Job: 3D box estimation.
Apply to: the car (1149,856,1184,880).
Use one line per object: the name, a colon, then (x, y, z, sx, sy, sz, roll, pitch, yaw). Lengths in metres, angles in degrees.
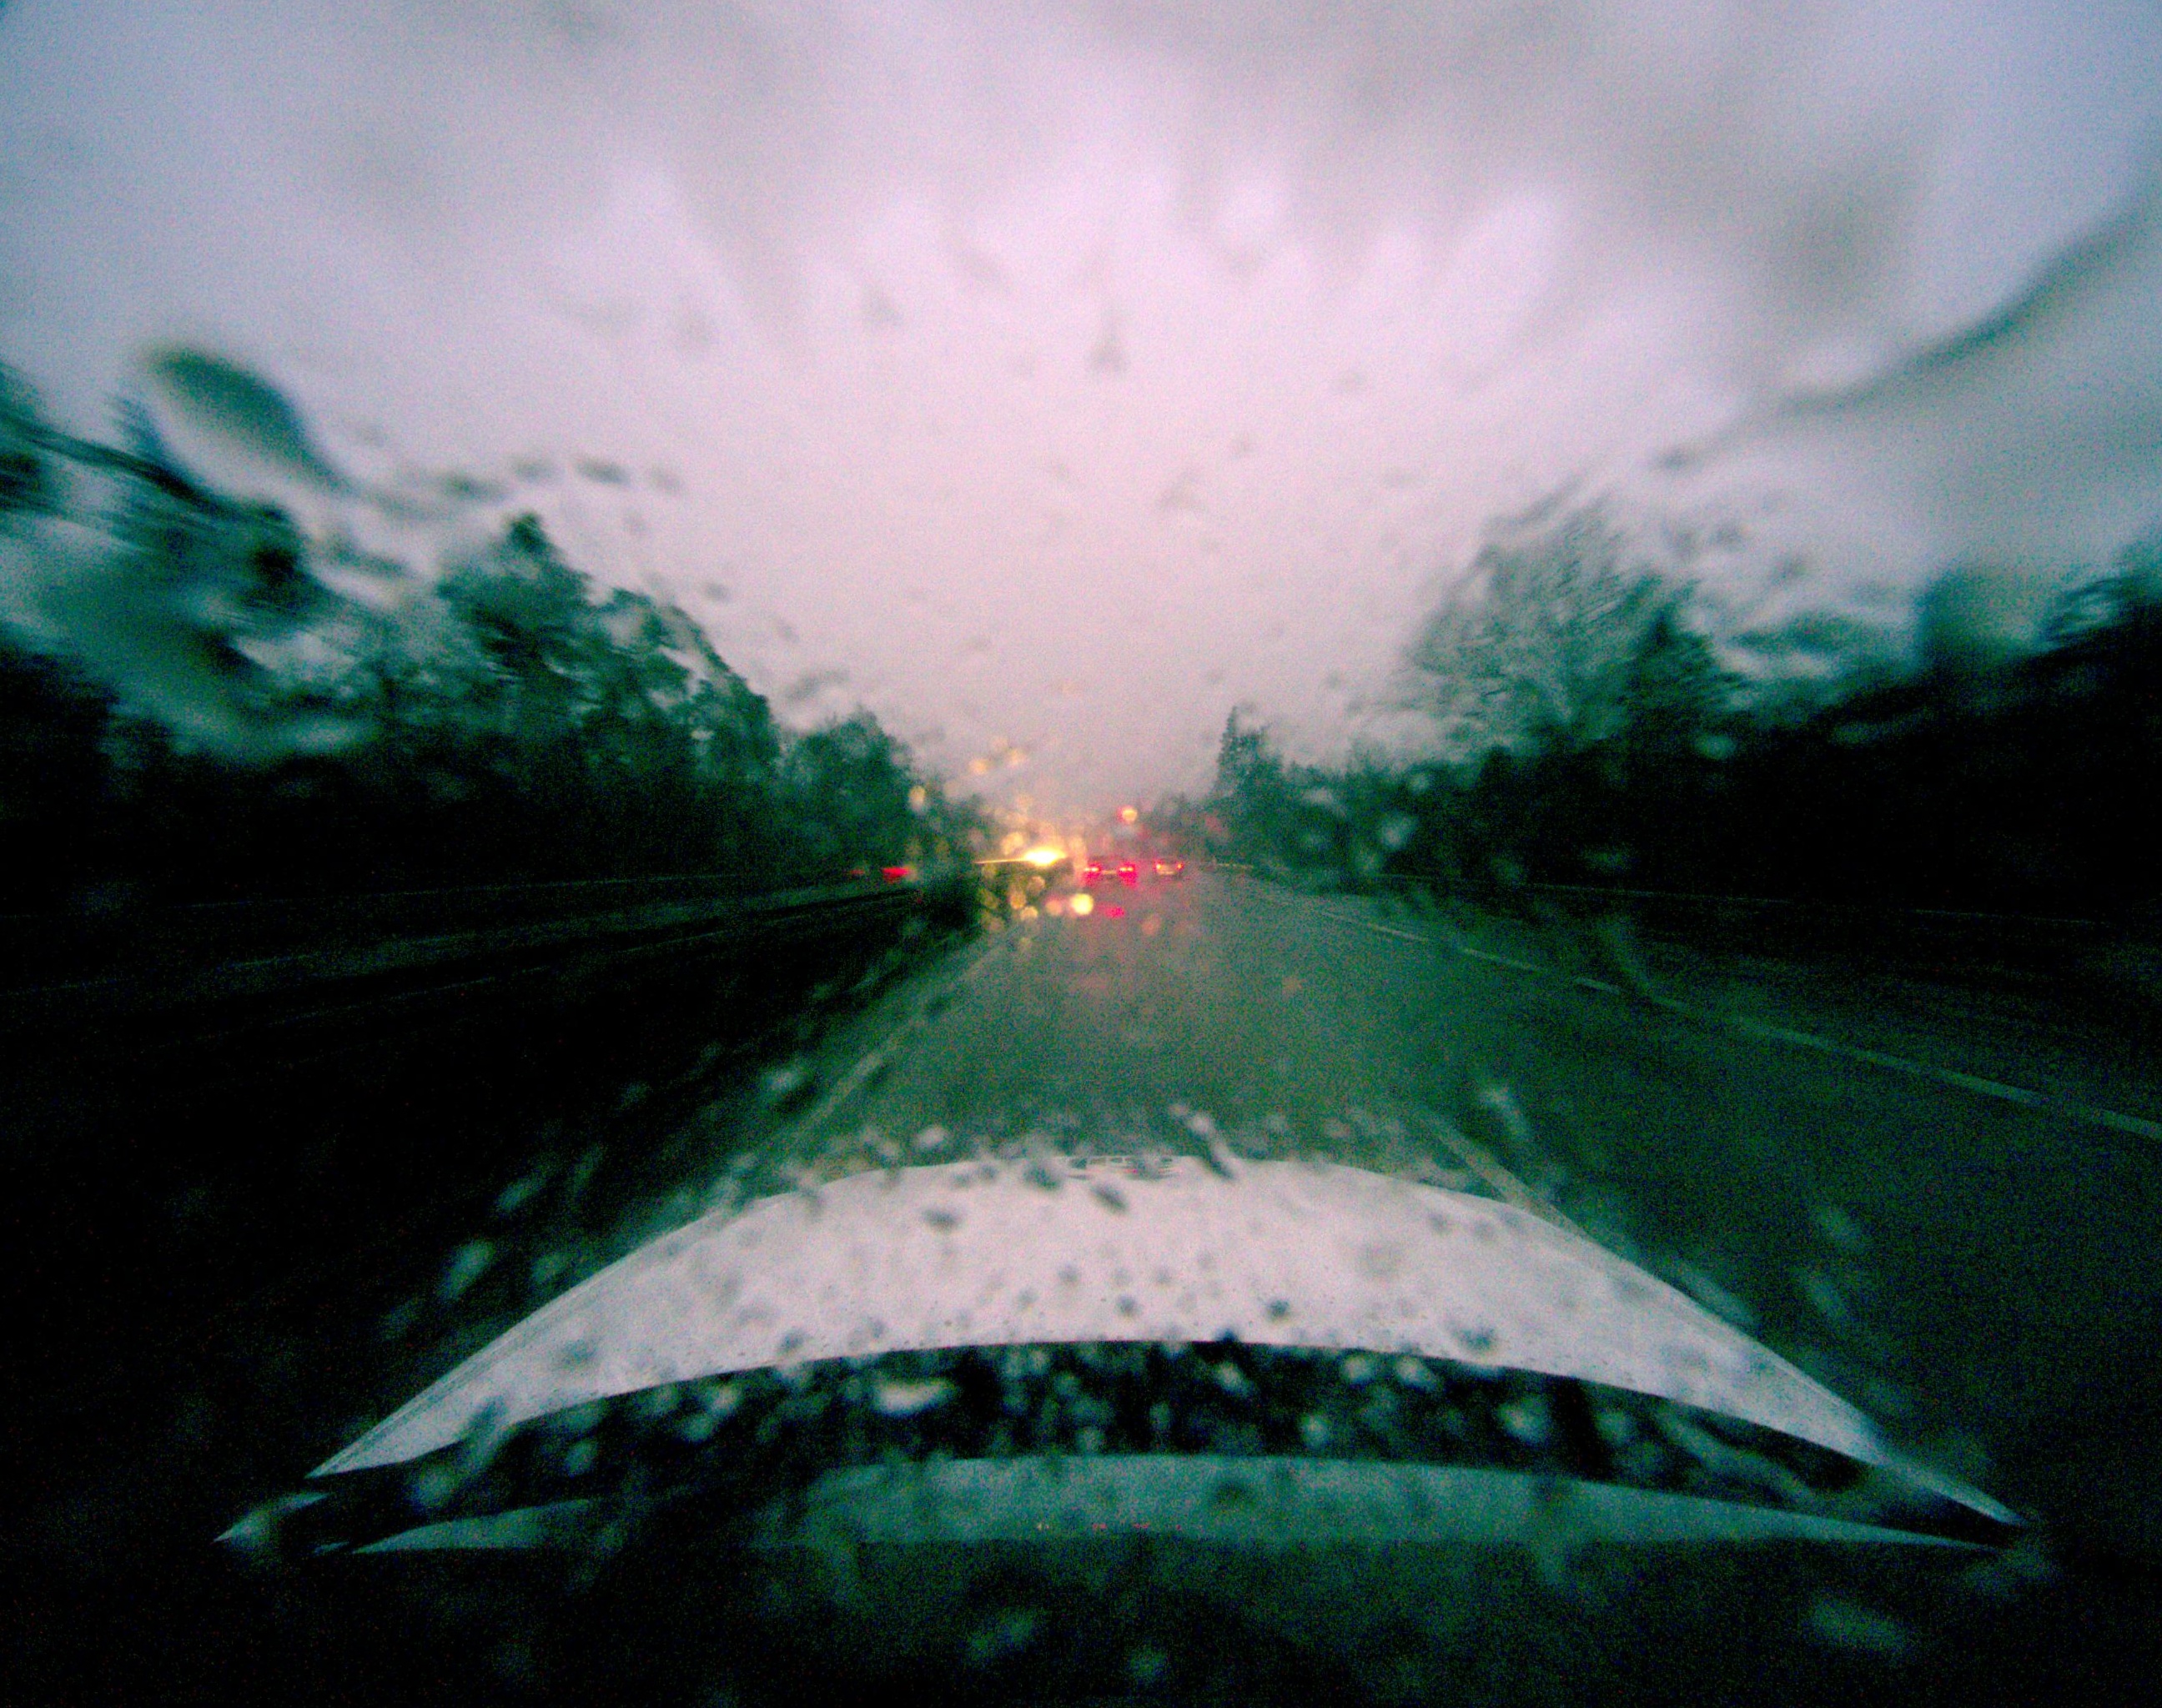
car: (5.220, 0.836, 50.337, 1.774, 1.437, 3.536, -1, 0, 0)

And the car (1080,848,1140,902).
car: (1.005, 0.714, 29.460, 1.979, 1.767, 4.173, -1, 0, 0)
